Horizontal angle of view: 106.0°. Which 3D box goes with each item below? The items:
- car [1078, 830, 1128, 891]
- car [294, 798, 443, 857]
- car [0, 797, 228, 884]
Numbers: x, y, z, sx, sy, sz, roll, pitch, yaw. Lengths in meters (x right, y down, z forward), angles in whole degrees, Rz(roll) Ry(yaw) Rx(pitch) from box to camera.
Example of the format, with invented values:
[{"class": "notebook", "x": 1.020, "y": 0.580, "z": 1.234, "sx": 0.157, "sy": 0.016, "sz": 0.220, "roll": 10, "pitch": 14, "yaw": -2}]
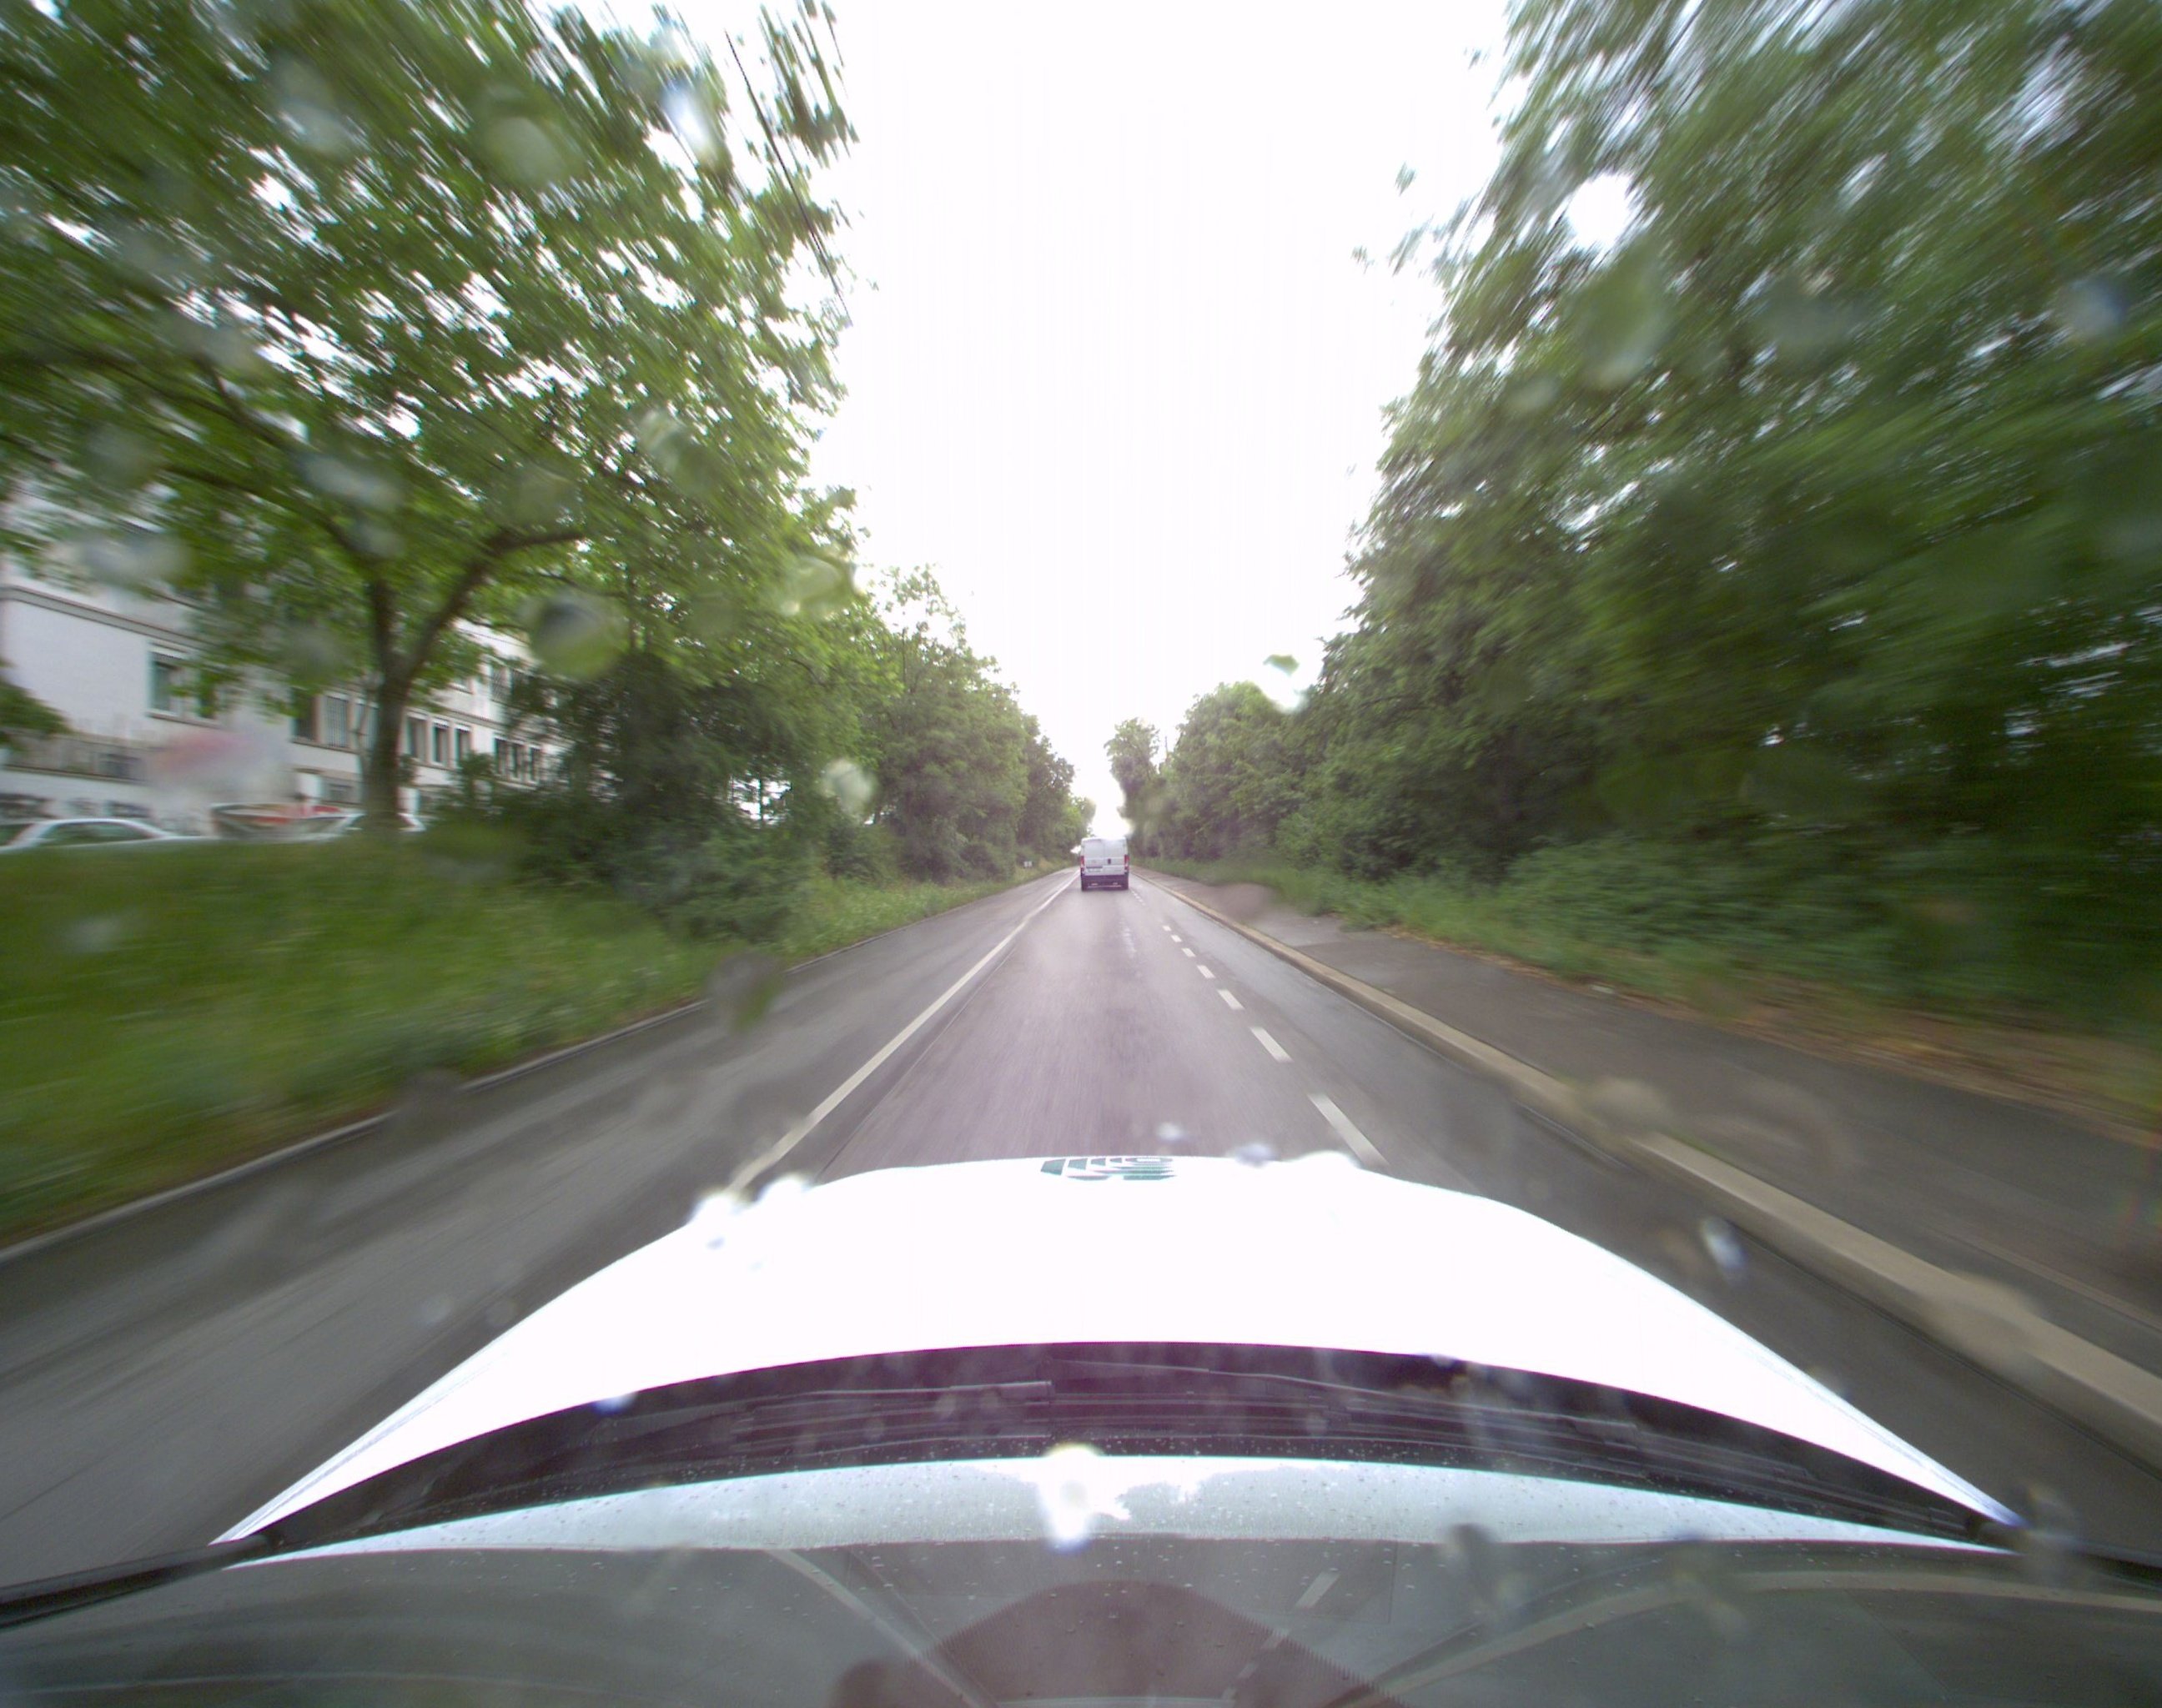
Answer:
[{"class": "car", "x": 0.976, "y": 0.258, "z": 36.140, "sx": 2.042, "sy": 2.516, "sz": 4.945, "roll": 0, "pitch": 0, "yaw": 2}, {"class": "car", "x": -19.042, "y": -0.658, "z": 21.931, "sx": 1.379, "sy": 1.298, "sz": 3.013, "roll": -3, "pitch": -2, "yaw": -2}, {"class": "car", "x": -18.945, "y": -0.179, "z": 15.842, "sx": 1.429, "sy": 1.458, "sz": 3.054, "roll": -3, "pitch": -2, "yaw": 1}]
